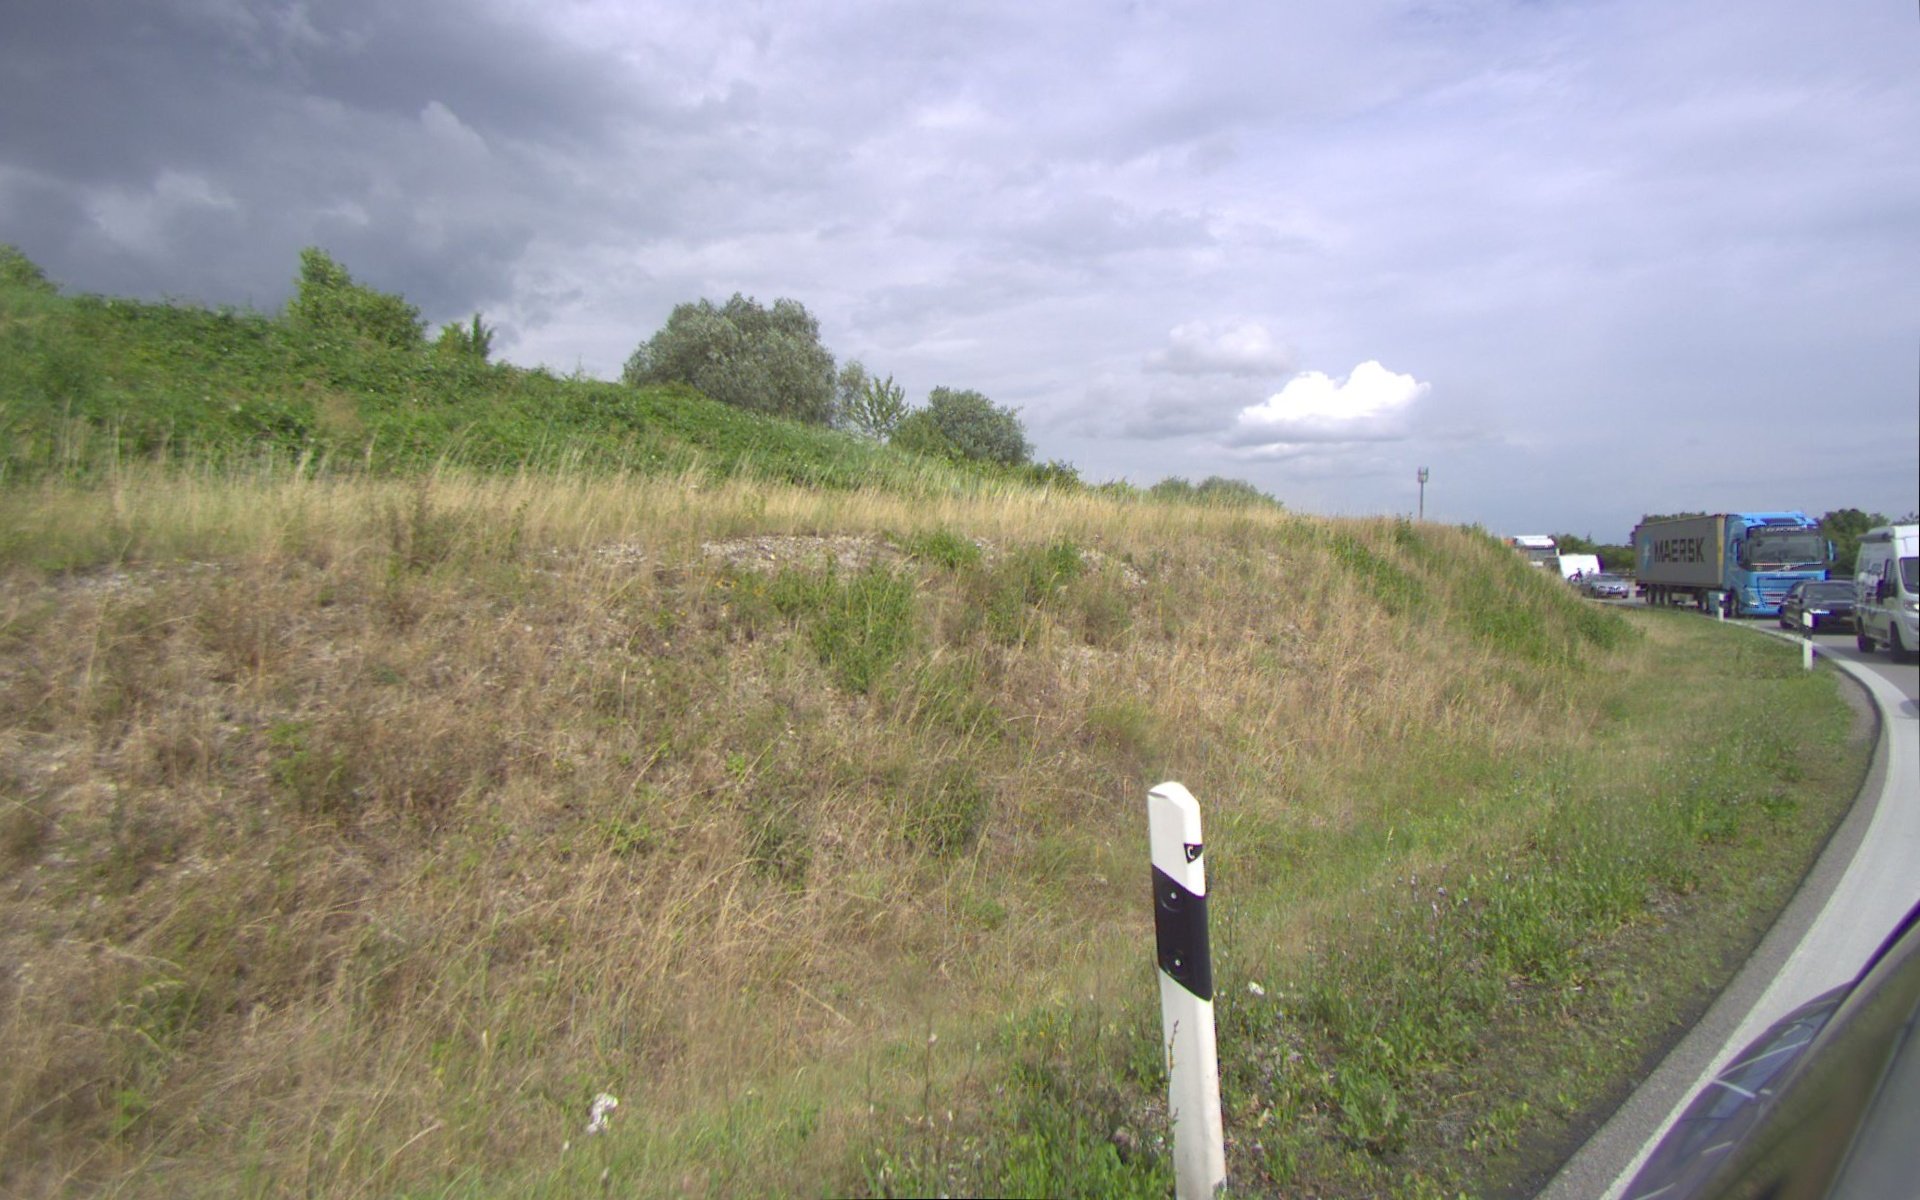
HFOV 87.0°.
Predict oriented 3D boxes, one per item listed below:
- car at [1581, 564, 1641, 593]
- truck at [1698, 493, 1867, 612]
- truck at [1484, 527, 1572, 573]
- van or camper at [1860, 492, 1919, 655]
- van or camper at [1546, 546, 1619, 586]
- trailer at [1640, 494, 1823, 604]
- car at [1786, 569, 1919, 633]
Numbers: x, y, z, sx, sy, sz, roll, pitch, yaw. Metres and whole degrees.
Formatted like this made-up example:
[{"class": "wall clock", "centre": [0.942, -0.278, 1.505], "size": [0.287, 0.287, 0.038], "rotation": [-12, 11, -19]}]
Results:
[{"class": "car", "centre": [37.539, -1.273, 58.479], "size": [1.974, 1.548, 3.978], "rotation": [0, 2, 18]}, {"class": "truck", "centre": [31.042, -1.681, 38.555], "size": [3.143, 4.124, 6.597], "rotation": [0, 0, 22]}, {"class": "truck", "centre": [44.011, -3.795, 78.864], "size": [3.079, 3.279, 11.116], "rotation": [0, 2, 14]}, {"class": "van or camper", "centre": [19.762, -0.517, 19.927], "size": [2.384, 2.945, 5.648], "rotation": [0, 1, 35]}, {"class": "van or camper", "centre": [39.486, -2.213, 64.390], "size": [2.518, 2.237, 5.685], "rotation": [-1, 4, 17]}, {"class": "trailer", "centre": [33.606, -2.025, 44.814], "size": [3.237, 4.213, 11.931], "rotation": [0, 1, 22]}, {"class": "car", "centre": [25.189, -0.053, 28.717], "size": [1.982, 1.638, 3.961], "rotation": [1, 2, 29]}]
